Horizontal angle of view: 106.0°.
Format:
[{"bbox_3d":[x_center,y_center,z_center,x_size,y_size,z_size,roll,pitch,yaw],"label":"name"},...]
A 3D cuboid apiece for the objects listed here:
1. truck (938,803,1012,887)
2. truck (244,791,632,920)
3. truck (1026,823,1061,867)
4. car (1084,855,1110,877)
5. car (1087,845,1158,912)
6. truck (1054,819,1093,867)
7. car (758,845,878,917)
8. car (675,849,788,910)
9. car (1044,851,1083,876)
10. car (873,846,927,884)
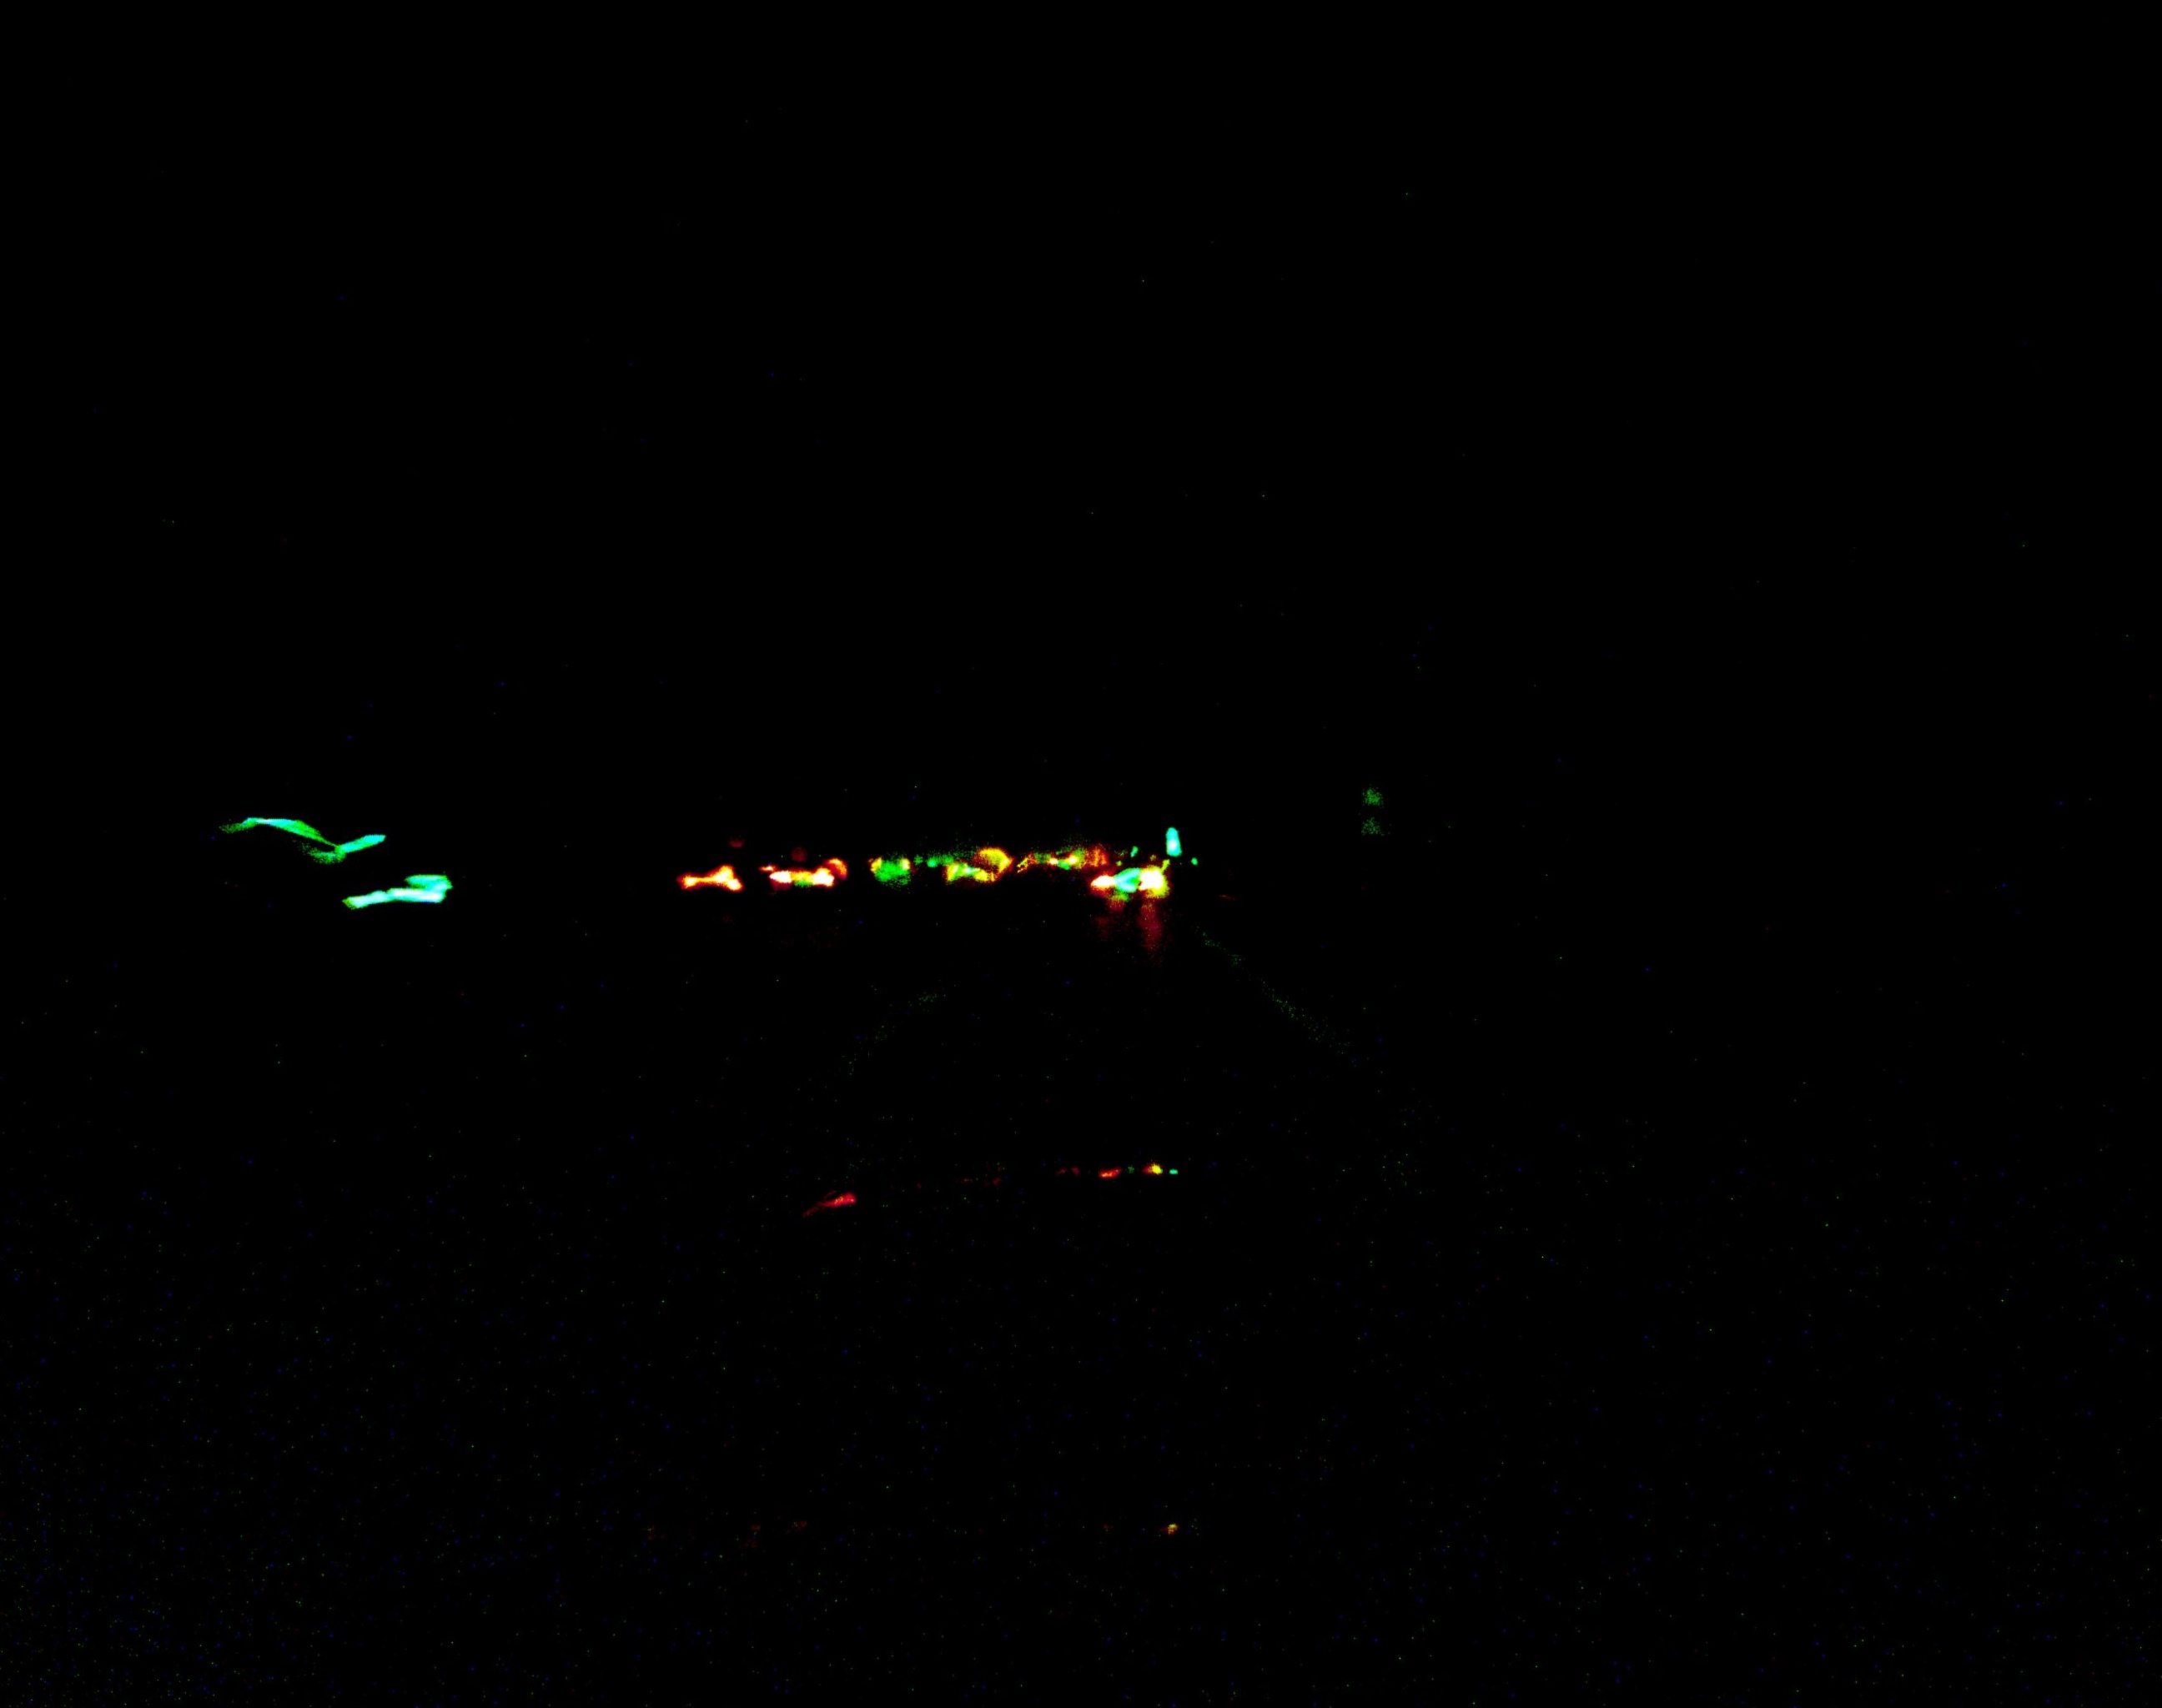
[{"bbox_3d":[-6.347,-0.500,50.523,3.647,4.737,9.845,0,0,-2],"label":"truck"},{"bbox_3d":[-26.967,0.069,36.799,3.194,4.460,17.498,0,0,2],"label":"truck"},{"bbox_3d":[-4.793,-1.098,106.143,4.242,5.444,10.878,0,0,-1],"label":"truck"},{"bbox_3d":[1.307,0.897,65.415,1.986,1.704,4.461,0,0,2],"label":"car"},{"bbox_3d":[1.194,0.642,23.487,1.870,1.762,4.003,0,0,3],"label":"car"},{"bbox_3d":[-0.855,-1.198,93.566,4.149,5.215,9.951,0,0,-1],"label":"truck"},{"bbox_3d":[-7.067,0.673,22.426,2.034,1.761,4.511,0,0,-3],"label":"car"},{"bbox_3d":[-10.581,0.705,24.978,1.760,1.689,3.998,-1,1,-1],"label":"car"},{"bbox_3d":[-1.381,0.743,67.142,2.821,2.013,5.514,0,0,3],"label":"car"},{"bbox_3d":[-10.542,0.595,47.781,2.118,2.104,5.623,-1,0,-3],"label":"car"}]
